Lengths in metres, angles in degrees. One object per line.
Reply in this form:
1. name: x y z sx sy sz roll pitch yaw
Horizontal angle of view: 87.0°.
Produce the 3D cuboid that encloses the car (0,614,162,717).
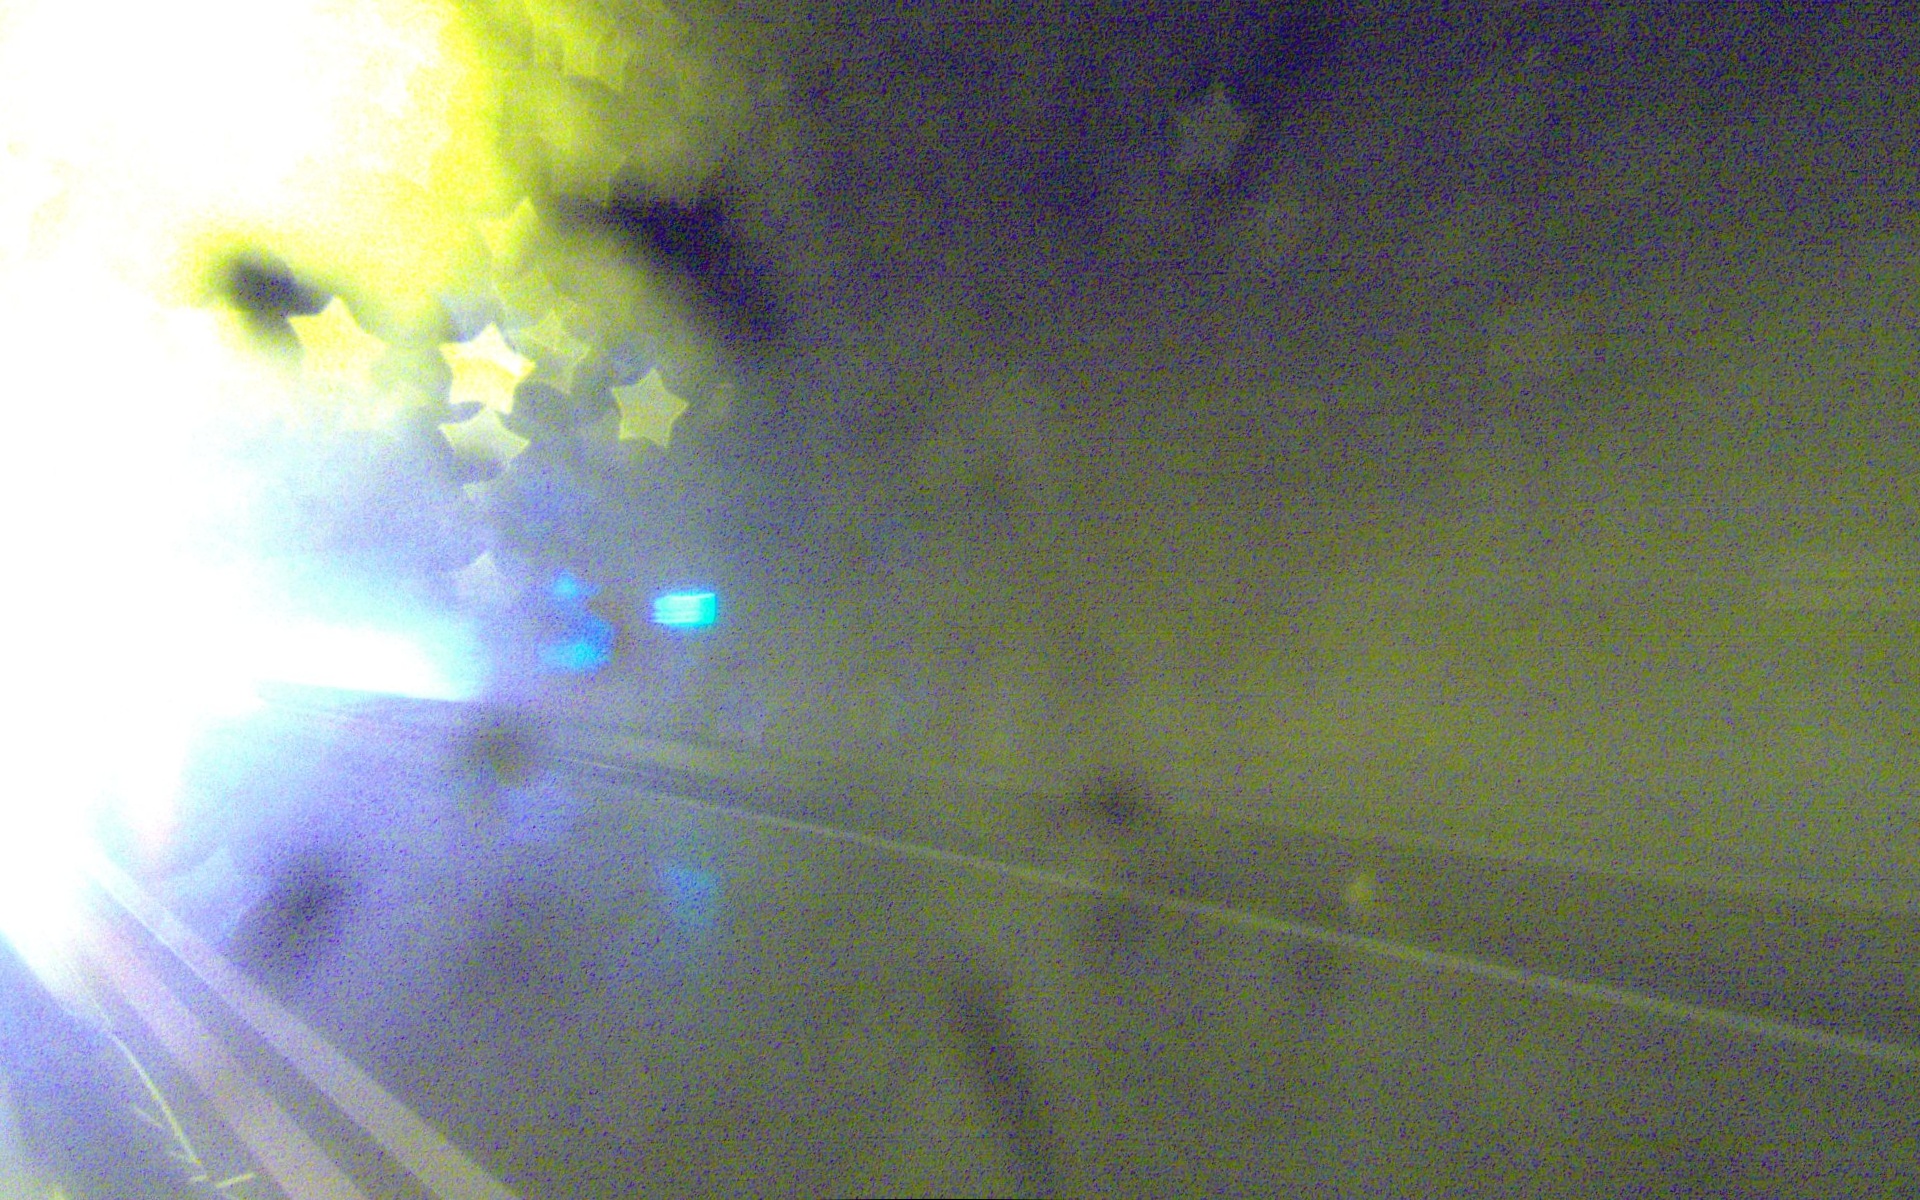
1. car: -14.979 1.025 17.082 3.836 1.504 1.639 -1 0 40
